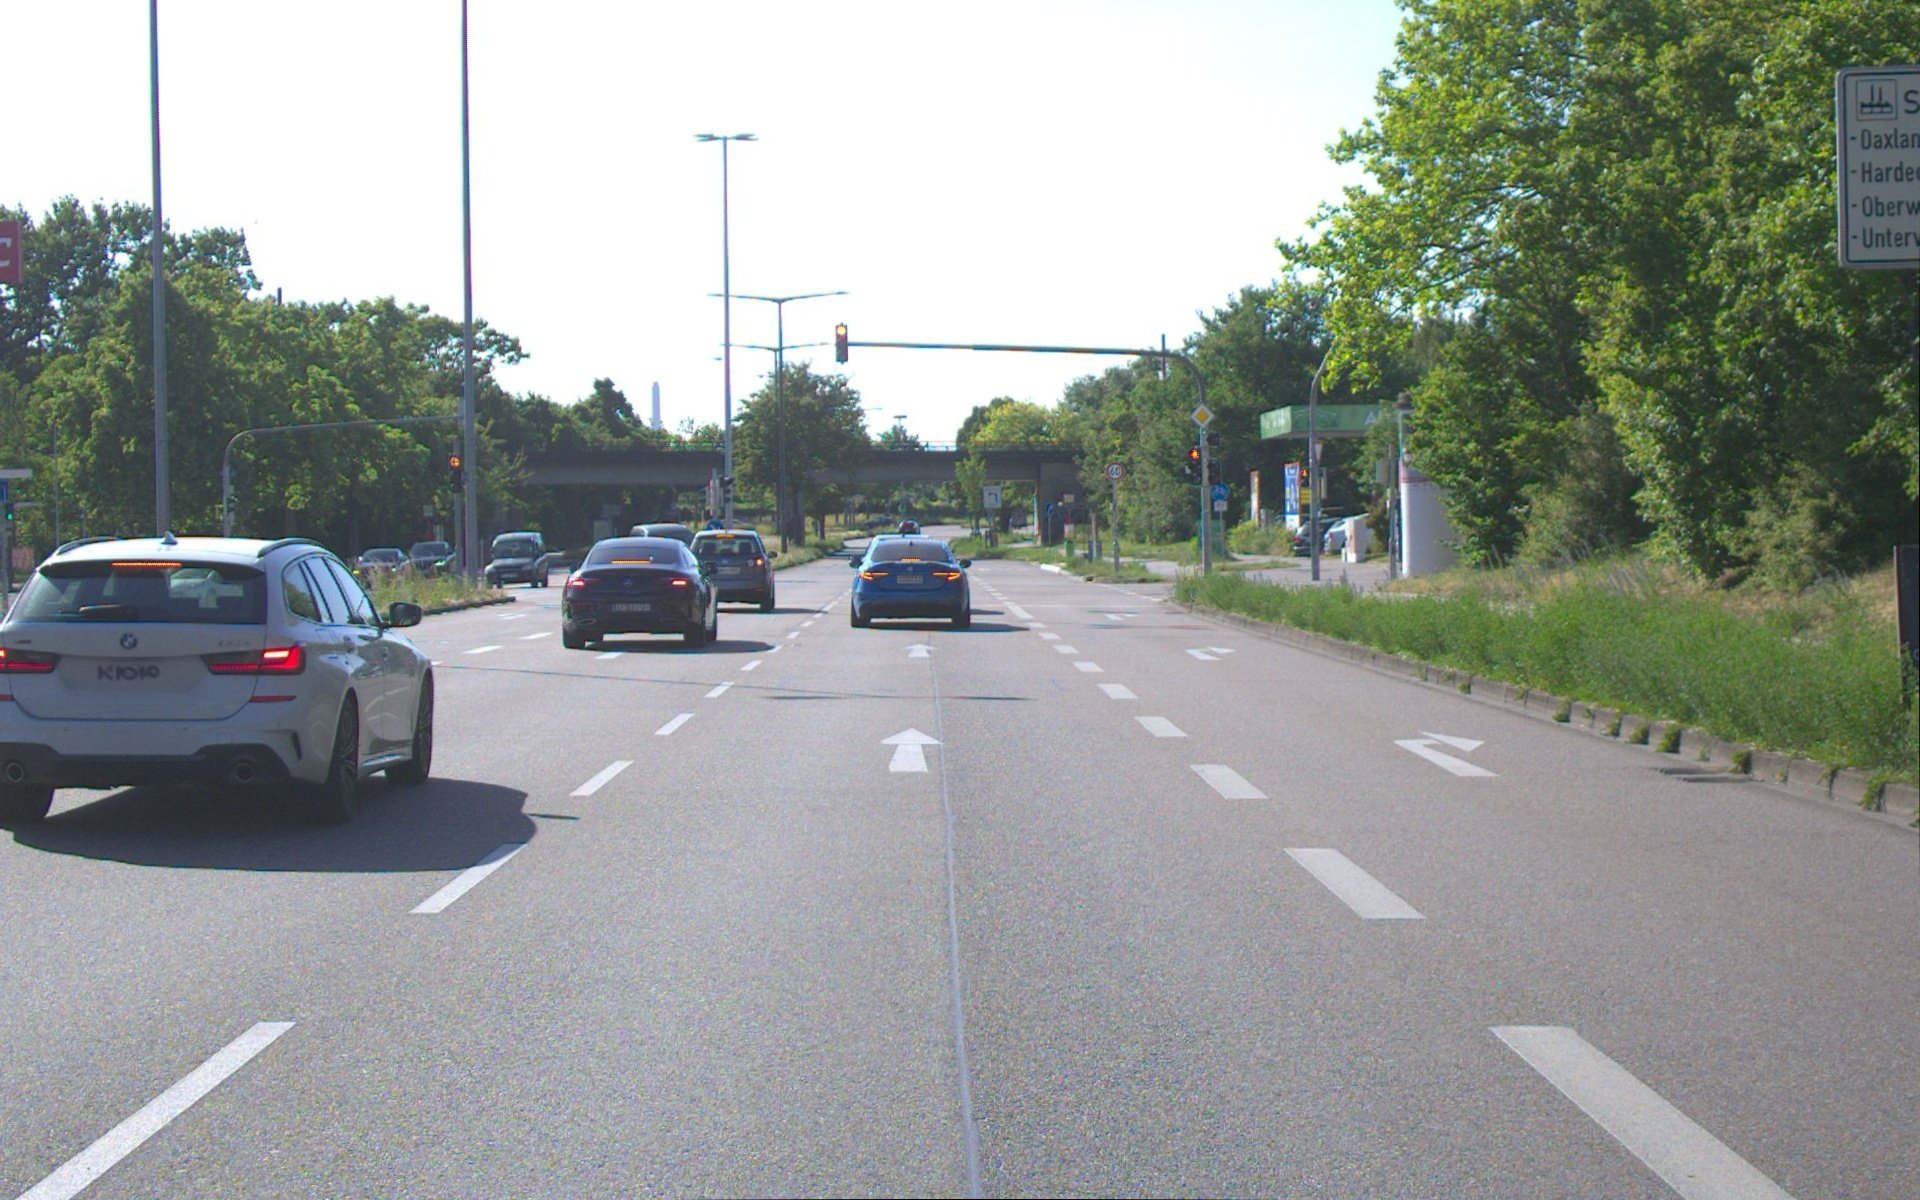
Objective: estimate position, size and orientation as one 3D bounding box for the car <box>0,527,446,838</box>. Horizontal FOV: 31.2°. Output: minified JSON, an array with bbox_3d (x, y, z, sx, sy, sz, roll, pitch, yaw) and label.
[{"bbox_3d":[-4.026,0.347,18.632,1.861,1.450,4.548,0,1,-1],"label":"car"}]

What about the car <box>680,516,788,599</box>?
[{"bbox_3d":[-4.417,-0.866,67.697,1.861,1.560,4.548,-1,1,-1],"label":"car"}]

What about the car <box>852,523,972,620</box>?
[{"bbox_3d":[-0.777,-0.493,55.953,1.861,1.494,4.337,-1,1,-1],"label":"car"}]

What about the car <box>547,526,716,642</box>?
[{"bbox_3d":[-4.349,-0.252,46.057,1.861,1.450,4.548,-1,1,-1],"label":"car"}]

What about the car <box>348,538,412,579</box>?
[{"bbox_3d":[-20.833,-1.501,123.613,1.703,1.397,3.723,-1,1,-1],"label":"car"}]

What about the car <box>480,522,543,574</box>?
[{"bbox_3d":[-14.179,-1.652,108.839,1.535,1.575,3.671,-1,1,-1],"label":"car"}]

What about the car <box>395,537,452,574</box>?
[{"bbox_3d":[-21.365,-1.777,137.114,1.703,1.397,3.723,-1,1,-1],"label":"car"}]
